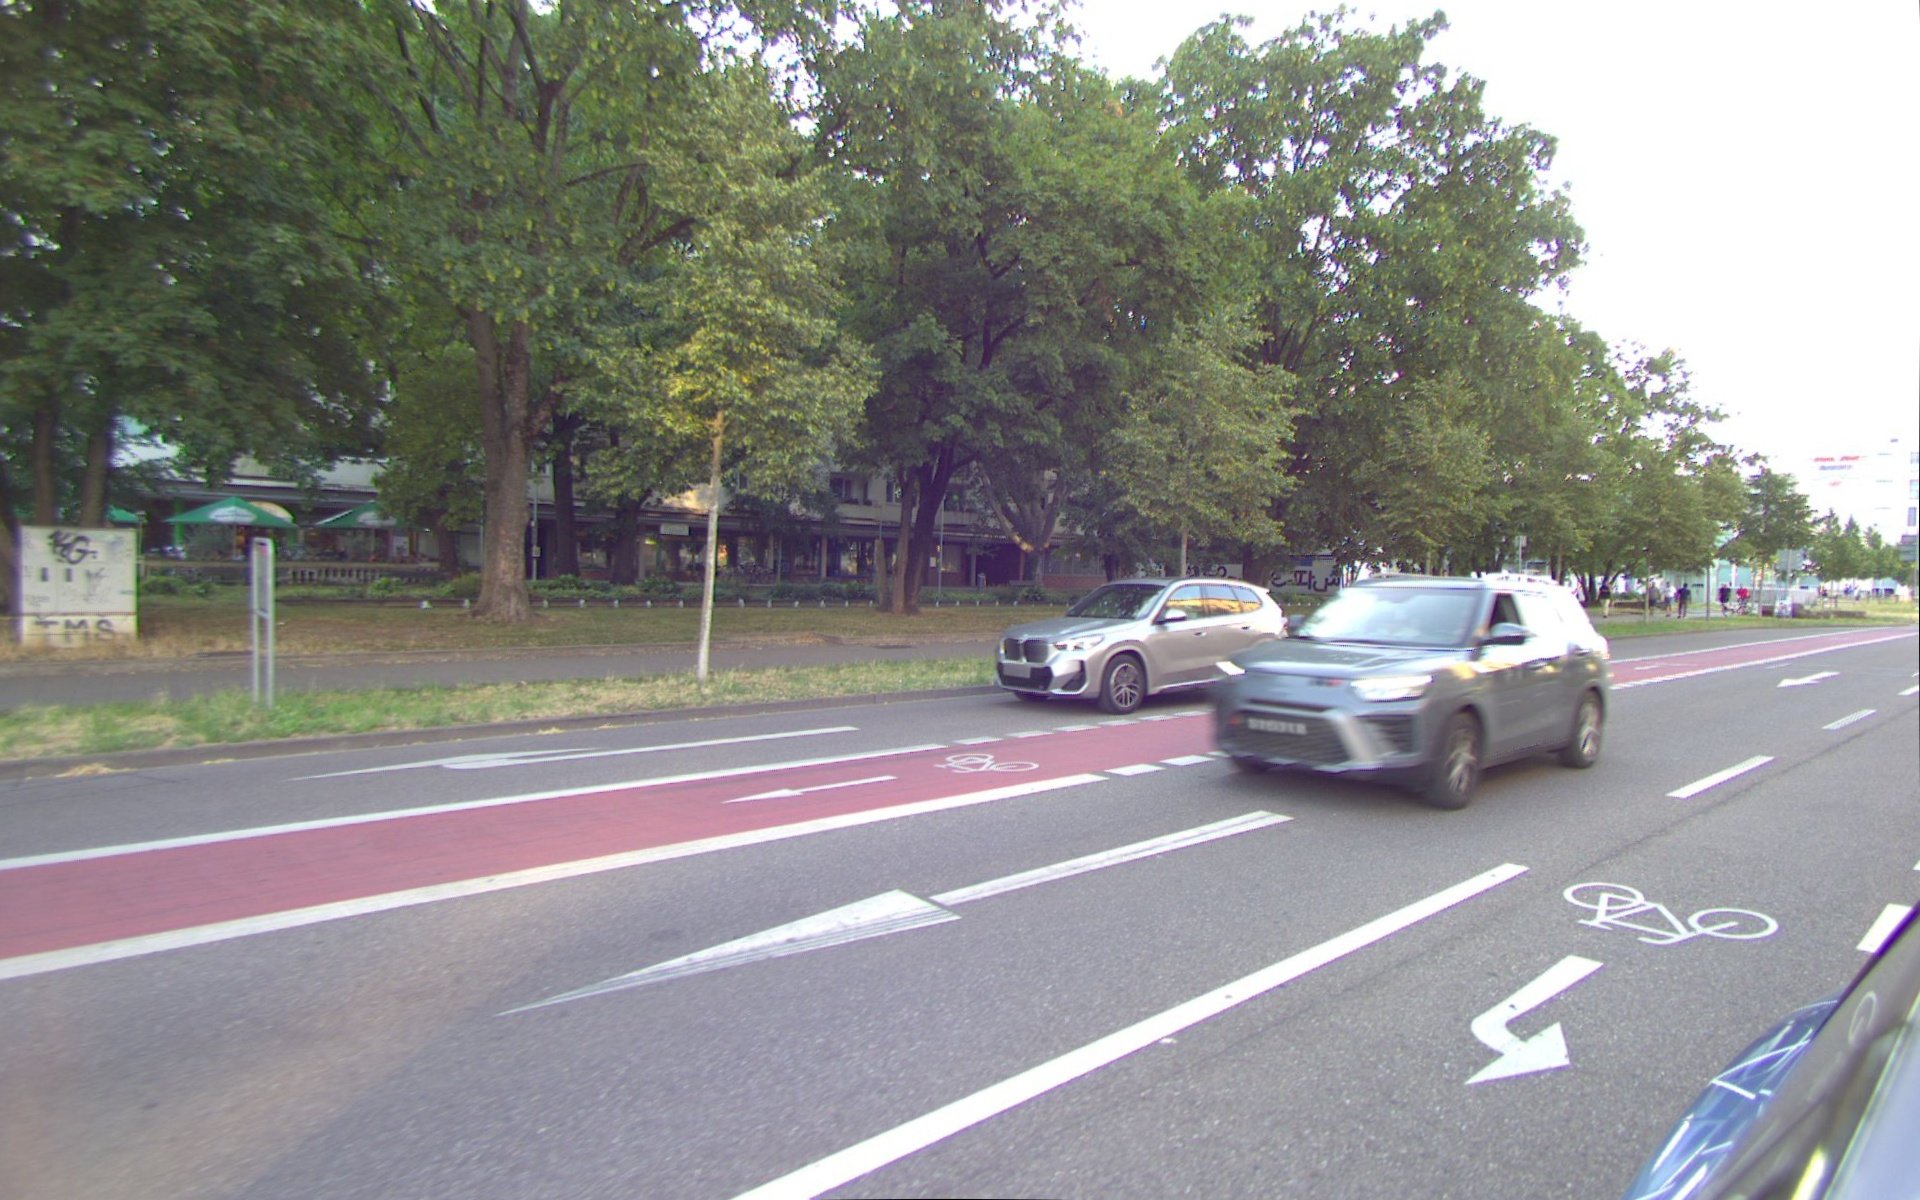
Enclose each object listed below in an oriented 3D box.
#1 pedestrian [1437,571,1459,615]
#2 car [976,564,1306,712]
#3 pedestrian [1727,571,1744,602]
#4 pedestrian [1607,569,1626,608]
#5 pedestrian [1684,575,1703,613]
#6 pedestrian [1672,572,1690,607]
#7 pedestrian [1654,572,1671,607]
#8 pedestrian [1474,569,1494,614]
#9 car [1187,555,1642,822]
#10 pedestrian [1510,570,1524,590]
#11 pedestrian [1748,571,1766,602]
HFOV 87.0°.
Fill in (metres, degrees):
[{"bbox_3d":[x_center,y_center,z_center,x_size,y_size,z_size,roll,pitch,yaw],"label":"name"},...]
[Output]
[{"bbox_3d":[18.159,-0.276,37.660,0.513,1.620,0.500,0,2,-41],"label":"pedestrian"},{"bbox_3d":[2.446,0.405,13.178,4.256,1.642,1.827,0,0,-37],"label":"car"},{"bbox_3d":[45.601,-0.795,59.500,0.497,1.779,0.638,0,2,-40],"label":"pedestrian"},{"bbox_3d":[29.864,-0.524,46.055,0.707,1.751,0.508,0,2,-40],"label":"pedestrian"},{"bbox_3d":[35.177,-0.297,48.548,0.546,1.760,0.558,0,2,-41],"label":"pedestrian"},{"bbox_3d":[36.018,-0.526,50.549,0.707,1.751,0.508,0,2,-40],"label":"pedestrian"},{"bbox_3d":[35.618,-0.540,51.310,0.707,1.751,0.519,0,2,-40],"label":"pedestrian"},{"bbox_3d":[19.143,-0.297,36.979,0.359,1.620,0.500,0,2,-40],"label":"pedestrian"},{"bbox_3d":[3.857,0.510,8.267,4.141,1.647,1.781,0,2,-41],"label":"car"},{"bbox_3d":[38.629,-1.403,70.131,0.550,1.371,0.662,0,2,-40],"label":"pedestrian"},{"bbox_3d":[46.193,-0.775,58.650,0.497,1.779,0.638,0,2,-40],"label":"pedestrian"}]
